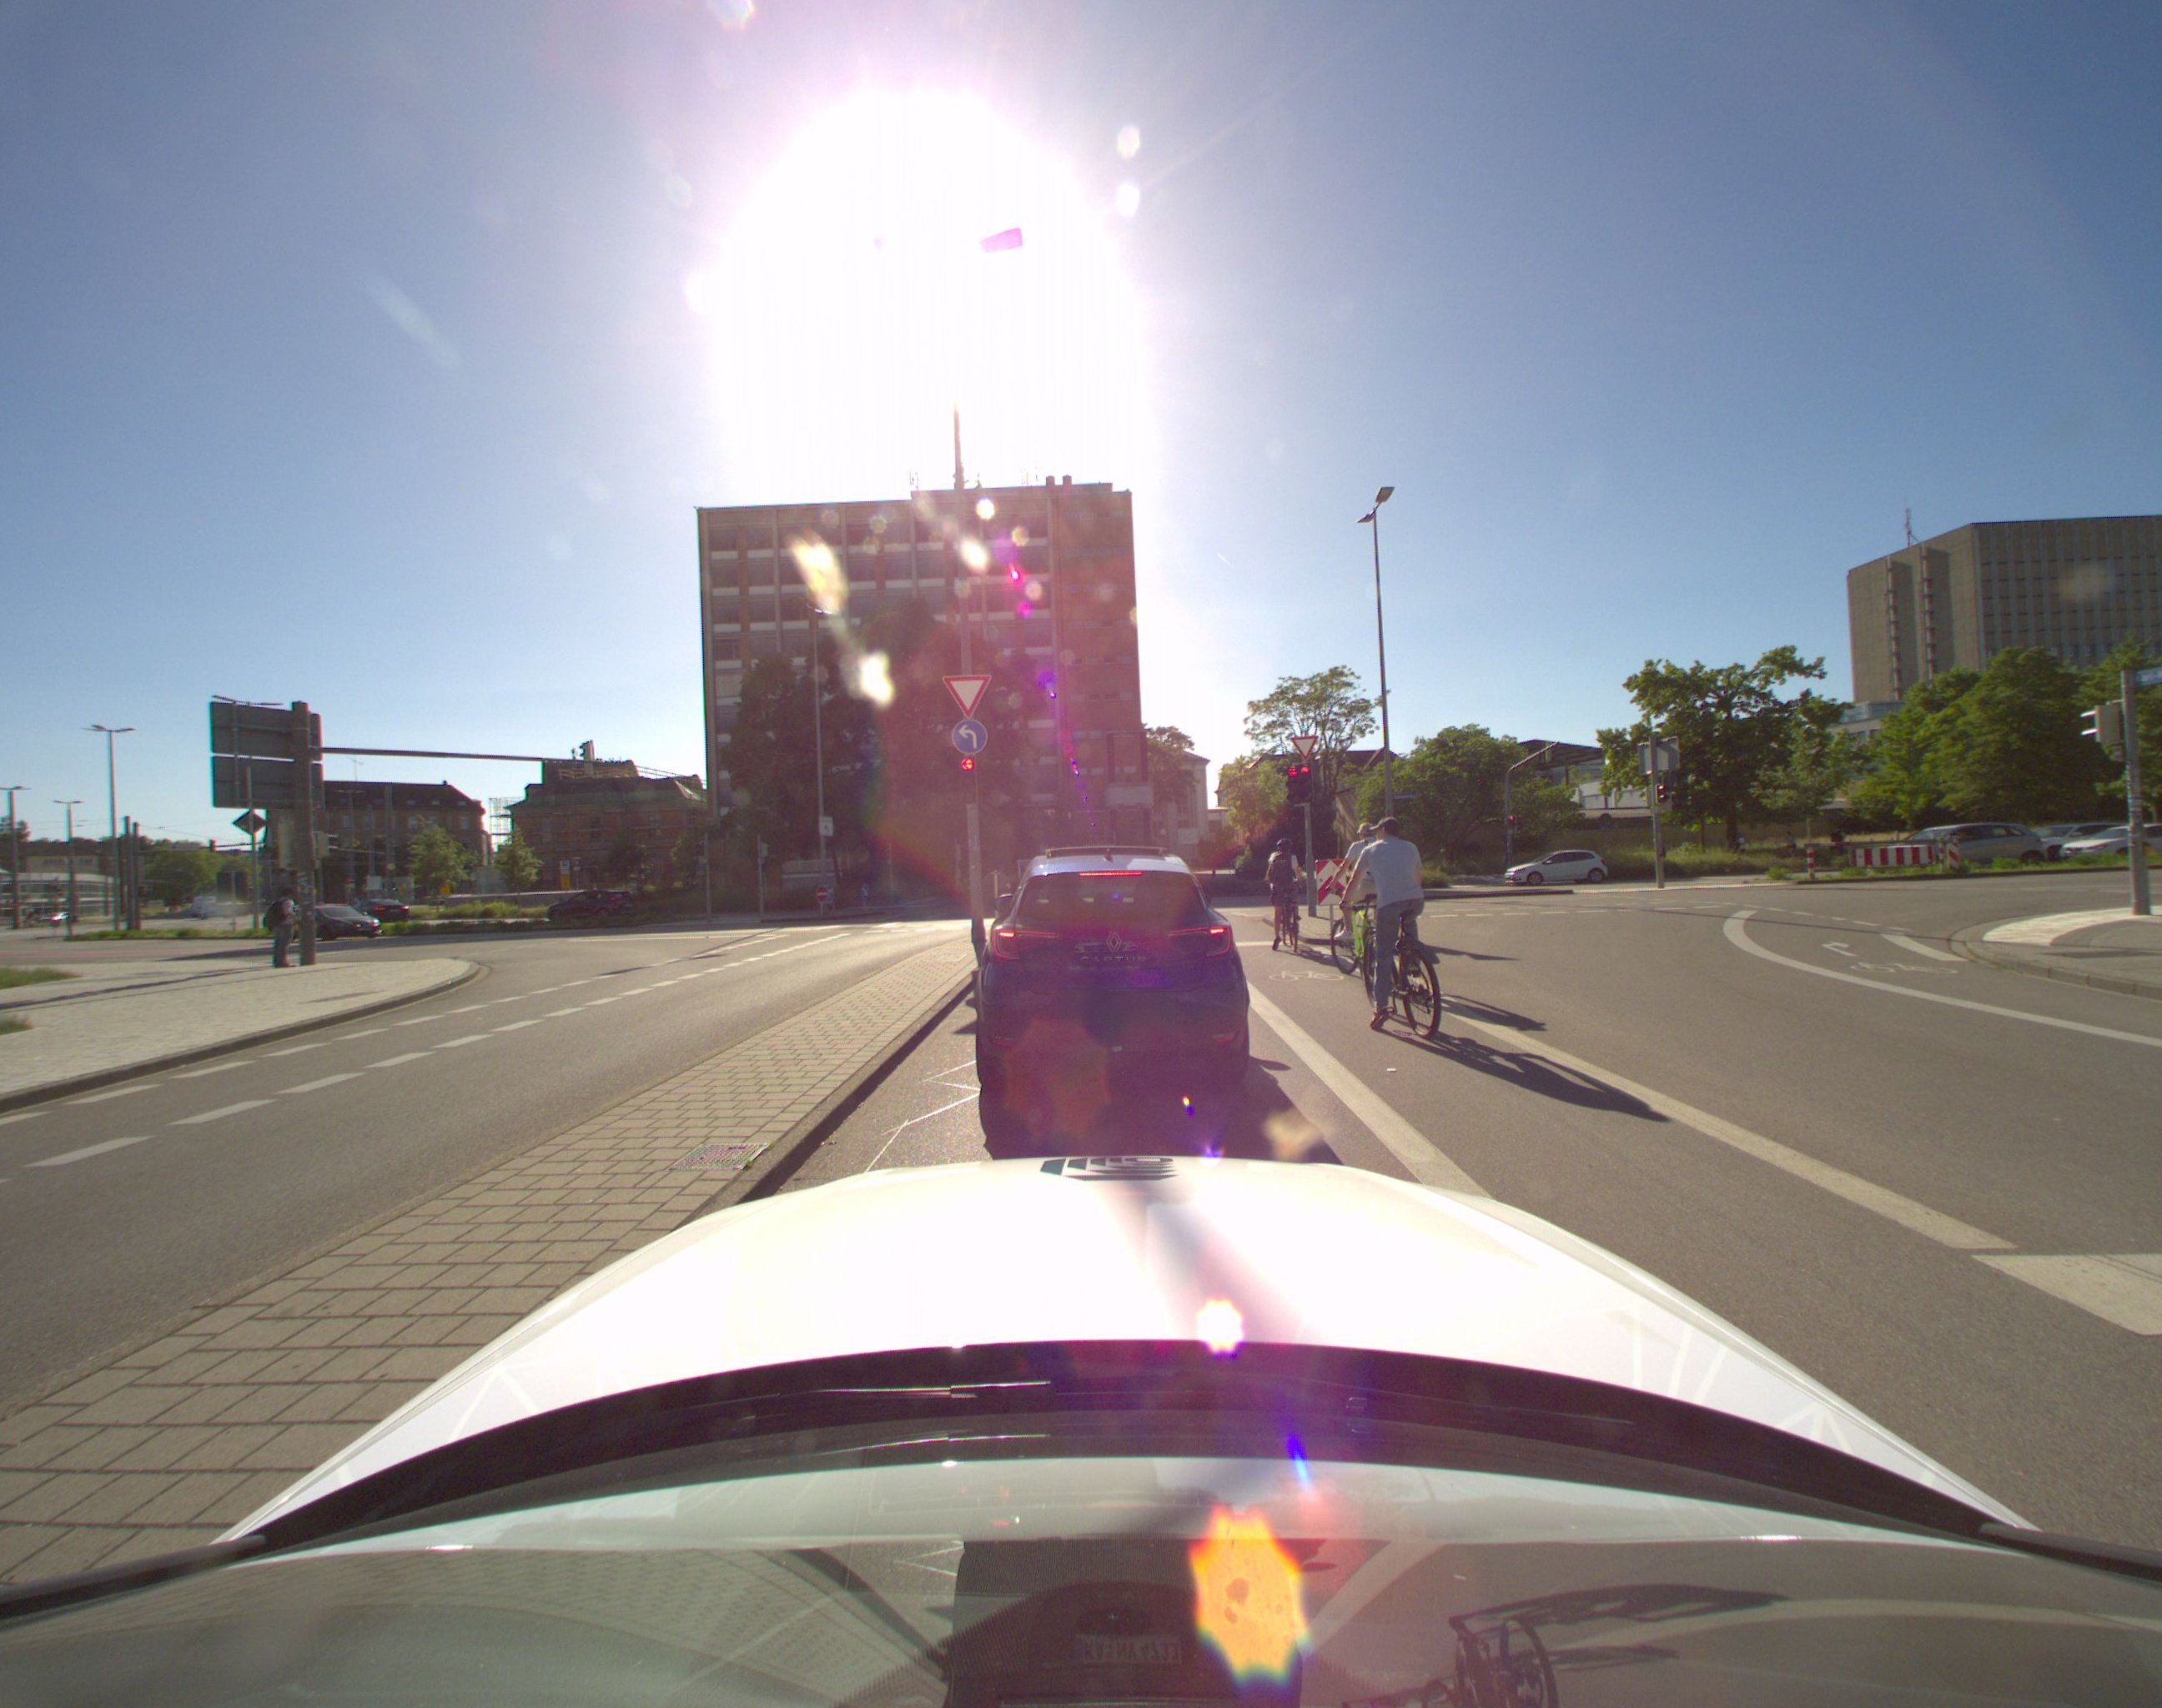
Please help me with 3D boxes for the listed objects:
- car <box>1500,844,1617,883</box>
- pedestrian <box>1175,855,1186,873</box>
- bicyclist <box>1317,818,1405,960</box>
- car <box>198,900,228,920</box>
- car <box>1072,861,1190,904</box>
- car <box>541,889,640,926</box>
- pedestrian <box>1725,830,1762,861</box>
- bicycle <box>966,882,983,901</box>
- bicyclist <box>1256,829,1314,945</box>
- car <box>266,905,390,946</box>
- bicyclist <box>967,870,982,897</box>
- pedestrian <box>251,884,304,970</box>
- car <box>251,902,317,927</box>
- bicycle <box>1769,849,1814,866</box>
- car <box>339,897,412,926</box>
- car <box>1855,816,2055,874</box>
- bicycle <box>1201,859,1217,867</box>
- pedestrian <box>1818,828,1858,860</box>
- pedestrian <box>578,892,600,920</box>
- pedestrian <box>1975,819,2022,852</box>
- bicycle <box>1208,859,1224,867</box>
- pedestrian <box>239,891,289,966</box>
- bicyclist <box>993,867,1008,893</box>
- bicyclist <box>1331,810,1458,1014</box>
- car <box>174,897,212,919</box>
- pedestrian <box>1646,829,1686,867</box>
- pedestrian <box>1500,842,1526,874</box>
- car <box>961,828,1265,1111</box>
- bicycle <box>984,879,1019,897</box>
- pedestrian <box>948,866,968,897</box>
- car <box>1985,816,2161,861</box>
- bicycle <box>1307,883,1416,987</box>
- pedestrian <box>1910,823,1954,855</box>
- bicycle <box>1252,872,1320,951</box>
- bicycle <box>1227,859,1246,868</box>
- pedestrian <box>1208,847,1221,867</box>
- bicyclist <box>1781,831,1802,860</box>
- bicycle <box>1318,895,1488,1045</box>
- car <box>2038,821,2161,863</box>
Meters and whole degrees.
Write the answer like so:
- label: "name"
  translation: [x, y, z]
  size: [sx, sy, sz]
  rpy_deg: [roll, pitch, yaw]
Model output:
- label: "car"
  translation: [20.507, 0.434, 35.138]
  size: [3.929, 1.491, 1.816]
  rpy_deg: [-2, -2, 10]
- label: "pedestrian"
  translation: [11.350, 1.107, 93.208]
  size: [1.144, 2.013, 0.954]
  rpy_deg: [-2, -1, 8]
- label: "bicyclist"
  translation: [3.266, 0.390, 9.580]
  size: [0.672, 1.583, 1.081]
  rpy_deg: [0, 0, 1]
- label: "car"
  translation: [-97.190, 6.216, 91.161]
  size: [4.951, 2.013, 2.085]
  rpy_deg: [-3, -1, 40]
- label: "car"
  translation: [2.192, 1.198, 34.935]
  size: [4.835, 1.593, 1.943]
  rpy_deg: [-2, -1, 8]
- label: "car"
  translation: [-23.797, 2.588, 39.554]
  size: [3.958, 1.570, 1.843]
  rpy_deg: [-3, -1, 14]
- label: "pedestrian"
  translation: [33.168, -0.428, 40.765]
  size: [1.078, 1.521, 0.933]
  rpy_deg: [-2, -1, 11]
- label: "bicycle"
  translation: [-5.777, 2.046, 44.216]
  size: [0.699, 1.007, 1.859]
  rpy_deg: [-3, -3, -13]
- label: "bicyclist"
  translation: [3.254, 0.512, 13.067]
  size: [0.674, 1.785, 0.939]
  rpy_deg: [-1, -1, 0]
- label: "car"
  translation: [-31.593, 2.998, 34.186]
  size: [3.956, 1.389, 2.009]
  rpy_deg: [-4, -1, 16]
- label: "bicyclist"
  translation: [-5.770, 1.592, 44.139]
  size: [0.648, 1.412, 0.635]
  rpy_deg: [-2, -3, -14]
- label: "pedestrian"
  translation: [-18.186, 1.639, 18.439]
  size: [0.673, 1.855, 0.608]
  rpy_deg: [-3, -1, 25]
- label: "car"
  translation: [-53.583, 4.084, 54.756]
  size: [3.771, 1.518, 2.012]
  rpy_deg: [-3, -1, 27]
- label: "bicycle"
  translation: [33.882, 0.165, 38.845]
  size: [1.483, 0.777, 0.571]
  rpy_deg: [-3, -1, 12]
- label: "car"
  translation: [-42.390, 3.449, 48.907]
  size: [3.771, 1.518, 2.012]
  rpy_deg: [-3, -1, 27]
- label: "car"
  translation: [27.981, -0.276, 26.218]
  size: [4.103, 1.606, 1.915]
  rpy_deg: [-2, 0, 7]
- label: "bicycle"
  translation: [15.551, 1.113, 99.018]
  size: [1.764, 0.893, 0.766]
  rpy_deg: [-2, -1, 2]
- label: "pedestrian"
  translation: [37.218, -0.490, 40.049]
  size: [1.069, 1.521, 0.880]
  rpy_deg: [-2, -1, 6]
- label: "pedestrian"
  translation: [-36.149, 3.801, 59.810]
  size: [0.816, 2.013, 1.021]
  rpy_deg: [-3, -1, 25]
- label: "pedestrian"
  translation: [44.370, -0.905, 39.399]
  size: [1.123, 1.521, 0.992]
  rpy_deg: [-2, -1, 5]
- label: "bicycle"
  translation: [15.696, 1.058, 94.647]
  size: [1.764, 0.898, 0.766]
  rpy_deg: [-2, -1, 2]
- label: "pedestrian"
  translation: [-19.230, 1.740, 19.167]
  size: [0.627, 1.697, 0.608]
  rpy_deg: [-3, -1, 25]
- label: "bicyclist"
  translation: [-4.557, 1.481, 46.165]
  size: [0.633, 1.412, 0.650]
  rpy_deg: [-2, -1, 5]
- label: "bicyclist"
  translation: [2.760, 0.484, 7.254]
  size: [0.737, 1.674, 0.865]
  rpy_deg: [-2, -1, 0]
- label: "car"
  translation: [-110.573, 6.686, 101.466]
  size: [6.869, 2.547, 3.031]
  rpy_deg: [-3, -1, 43]
- label: "pedestrian"
  translation: [29.466, -0.312, 41.064]
  size: [1.288, 1.855, 0.969]
  rpy_deg: [-3, -1, 13]
- label: "pedestrian"
  translation: [22.540, 0.195, 42.541]
  size: [0.974, 1.604, 0.830]
  rpy_deg: [-3, -1, 15]
- label: "car"
  translation: [0.222, 0.684, 6.768]
  size: [1.788, 1.655, 3.853]
  rpy_deg: [-1, 0, 1]
- label: "bicycle"
  translation: [-4.499, 1.931, 46.169]
  size: [1.855, 0.958, 0.625]
  rpy_deg: [-2, -1, 6]
- label: "pedestrian"
  translation: [-7.426, 1.658, 49.217]
  size: [0.926, 1.855, 0.809]
  rpy_deg: [-3, -1, 11]
- label: "car"
  translation: [40.287, -0.611, 33.131]
  size: [4.479, 1.606, 2.004]
  rpy_deg: [-2, 0, 7]
- label: "bicycle"
  translation: [3.266, 0.905, 9.654]
  size: [0.669, 1.050, 1.844]
  rpy_deg: [0, 0, 1]
- label: "pedestrian"
  translation: [42.133, -0.749, 40.338]
  size: [1.140, 1.521, 0.944]
  rpy_deg: [-2, -1, 7]
- label: "bicycle"
  translation: [3.252, 0.879, 13.090]
  size: [0.613, 1.138, 1.826]
  rpy_deg: [-2, 0, 0]
- label: "bicycle"
  translation: [15.805, 0.949, 82.836]
  size: [1.770, 0.823, 0.763]
  rpy_deg: [-2, -1, -9]
- label: "pedestrian"
  translation: [13.695, 0.310, 83.541]
  size: [1.152, 2.013, 1.165]
  rpy_deg: [-2, -1, 2]
- label: "bicyclist"
  translation: [33.882, -0.392, 38.844]
  size: [0.517, 1.368, 0.578]
  rpy_deg: [-2, -1, 12]
- label: "bicycle"
  translation: [2.780, 0.951, 7.288]
  size: [0.745, 1.050, 1.903]
  rpy_deg: [-3, 0, 1]
- label: "car"
  translation: [38.696, -0.472, 30.074]
  size: [3.974, 1.361, 2.004]
  rpy_deg: [-3, -2, 7]
